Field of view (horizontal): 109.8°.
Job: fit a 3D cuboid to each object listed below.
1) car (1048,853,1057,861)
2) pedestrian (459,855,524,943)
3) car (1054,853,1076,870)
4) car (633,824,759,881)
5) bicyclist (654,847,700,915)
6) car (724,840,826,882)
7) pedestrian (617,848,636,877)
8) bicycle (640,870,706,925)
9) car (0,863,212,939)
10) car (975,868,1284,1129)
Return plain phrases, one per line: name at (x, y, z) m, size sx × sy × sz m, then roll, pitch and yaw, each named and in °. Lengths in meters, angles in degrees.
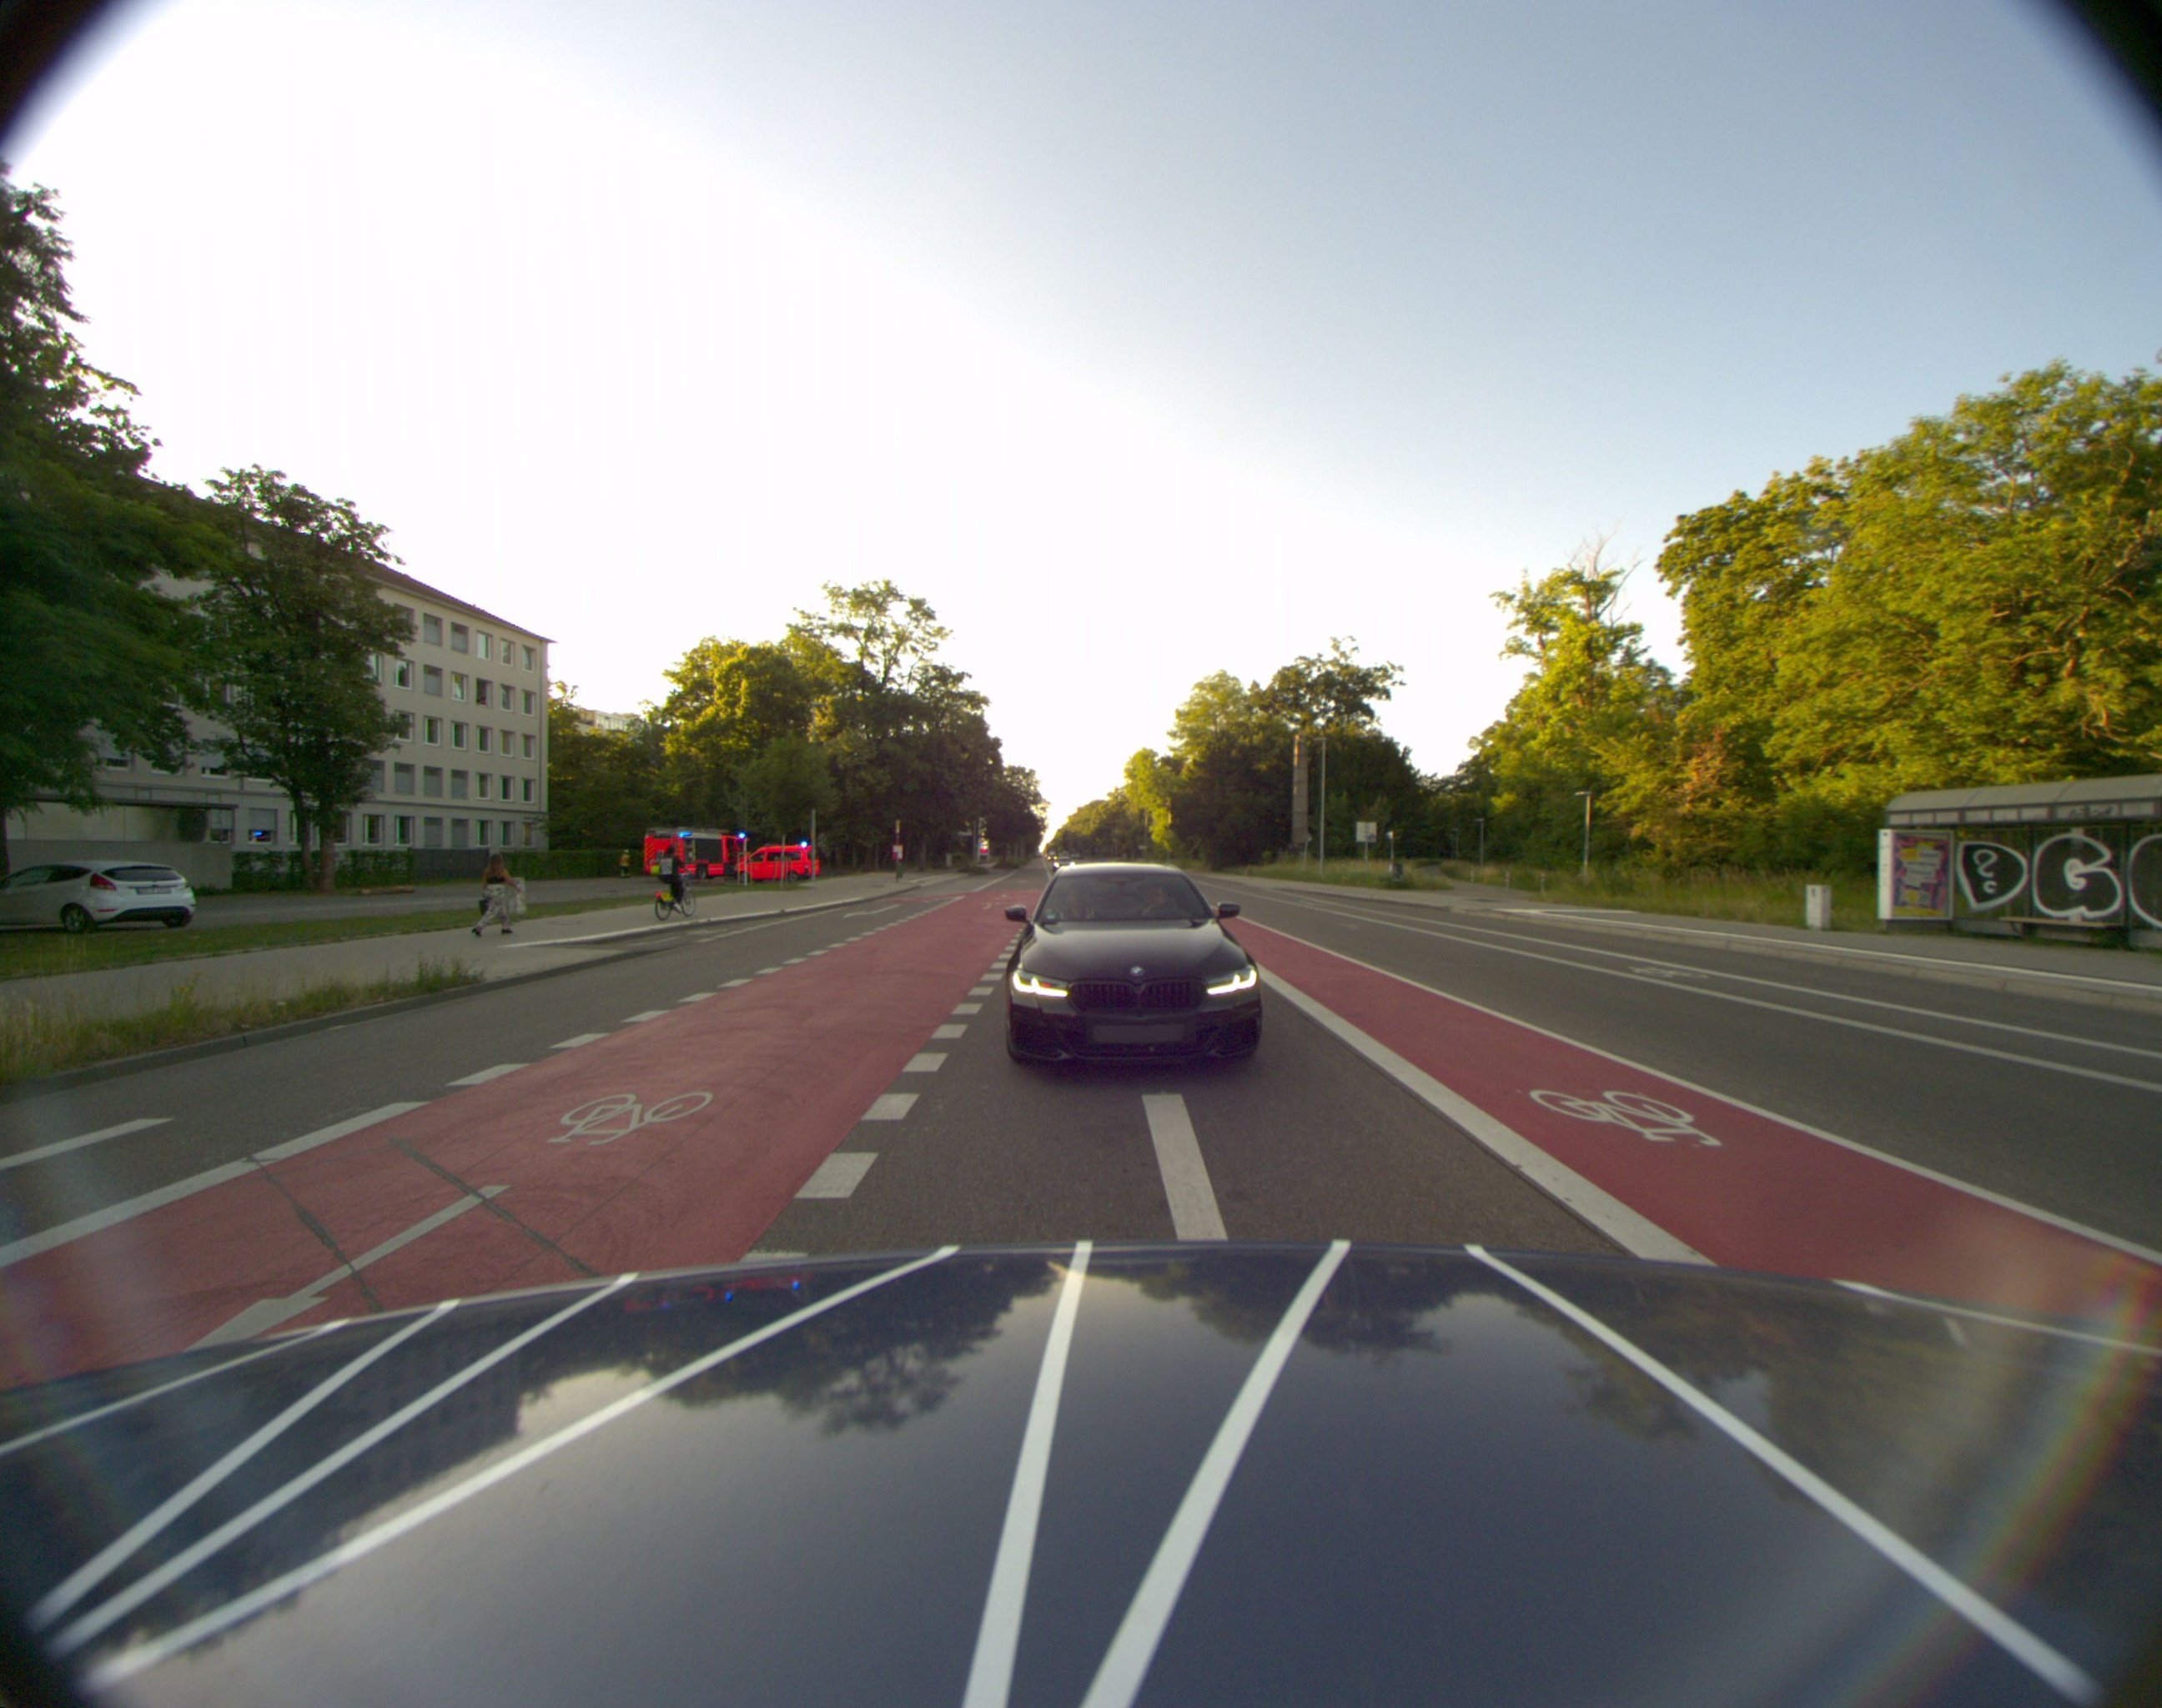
car at (-5.910, 0.599, 157.999) m, size 1.850 × 1.473 × 4.702 m, roll -2°, pitch 0°, yaw -1°
pedestrian at (-11.089, 0.832, 14.312) m, size 0.682 × 1.613 × 0.688 m, roll 0°, pitch 0°, yaw 1°
car at (-1.447, 0.662, 69.722) m, size 1.850 × 1.346 × 4.702 m, roll -2°, pitch 0°, yaw -1°
car at (-23.623, -0.128, 47.232) m, size 2.770 × 3.225 × 8.301 m, roll 0°, pitch 0°, yaw 7°
bicyclist at (-9.951, 0.638, 18.733) m, size 0.571 × 1.623 × 1.038 m, roll 0°, pitch 1°, yaw 1°
car at (-17.943, 0.402, 44.703) m, size 5.164 × 2.379 × 2.000 m, roll 0°, pitch 1°, yaw 3°
pedestrian at (-29.531, 0.543, 49.405) m, size 0.845 × 1.831 × 0.683 m, roll 0°, pitch 0°, yaw -3°
bicycle at (-9.952, 1.031, 18.617) m, size 0.571 × 1.233 × 1.899 m, roll 0°, pitch 1°, yaw 1°
car at (-20.819, 0.927, 15.874) m, size 3.662 × 1.451 × 1.665 m, roll 0°, pitch 1°, yaw 5°
car at (0.287, 0.920, 7.196) m, size 1.818 × 1.391 × 5.212 m, roll -2°, pitch 0°, yaw 0°
